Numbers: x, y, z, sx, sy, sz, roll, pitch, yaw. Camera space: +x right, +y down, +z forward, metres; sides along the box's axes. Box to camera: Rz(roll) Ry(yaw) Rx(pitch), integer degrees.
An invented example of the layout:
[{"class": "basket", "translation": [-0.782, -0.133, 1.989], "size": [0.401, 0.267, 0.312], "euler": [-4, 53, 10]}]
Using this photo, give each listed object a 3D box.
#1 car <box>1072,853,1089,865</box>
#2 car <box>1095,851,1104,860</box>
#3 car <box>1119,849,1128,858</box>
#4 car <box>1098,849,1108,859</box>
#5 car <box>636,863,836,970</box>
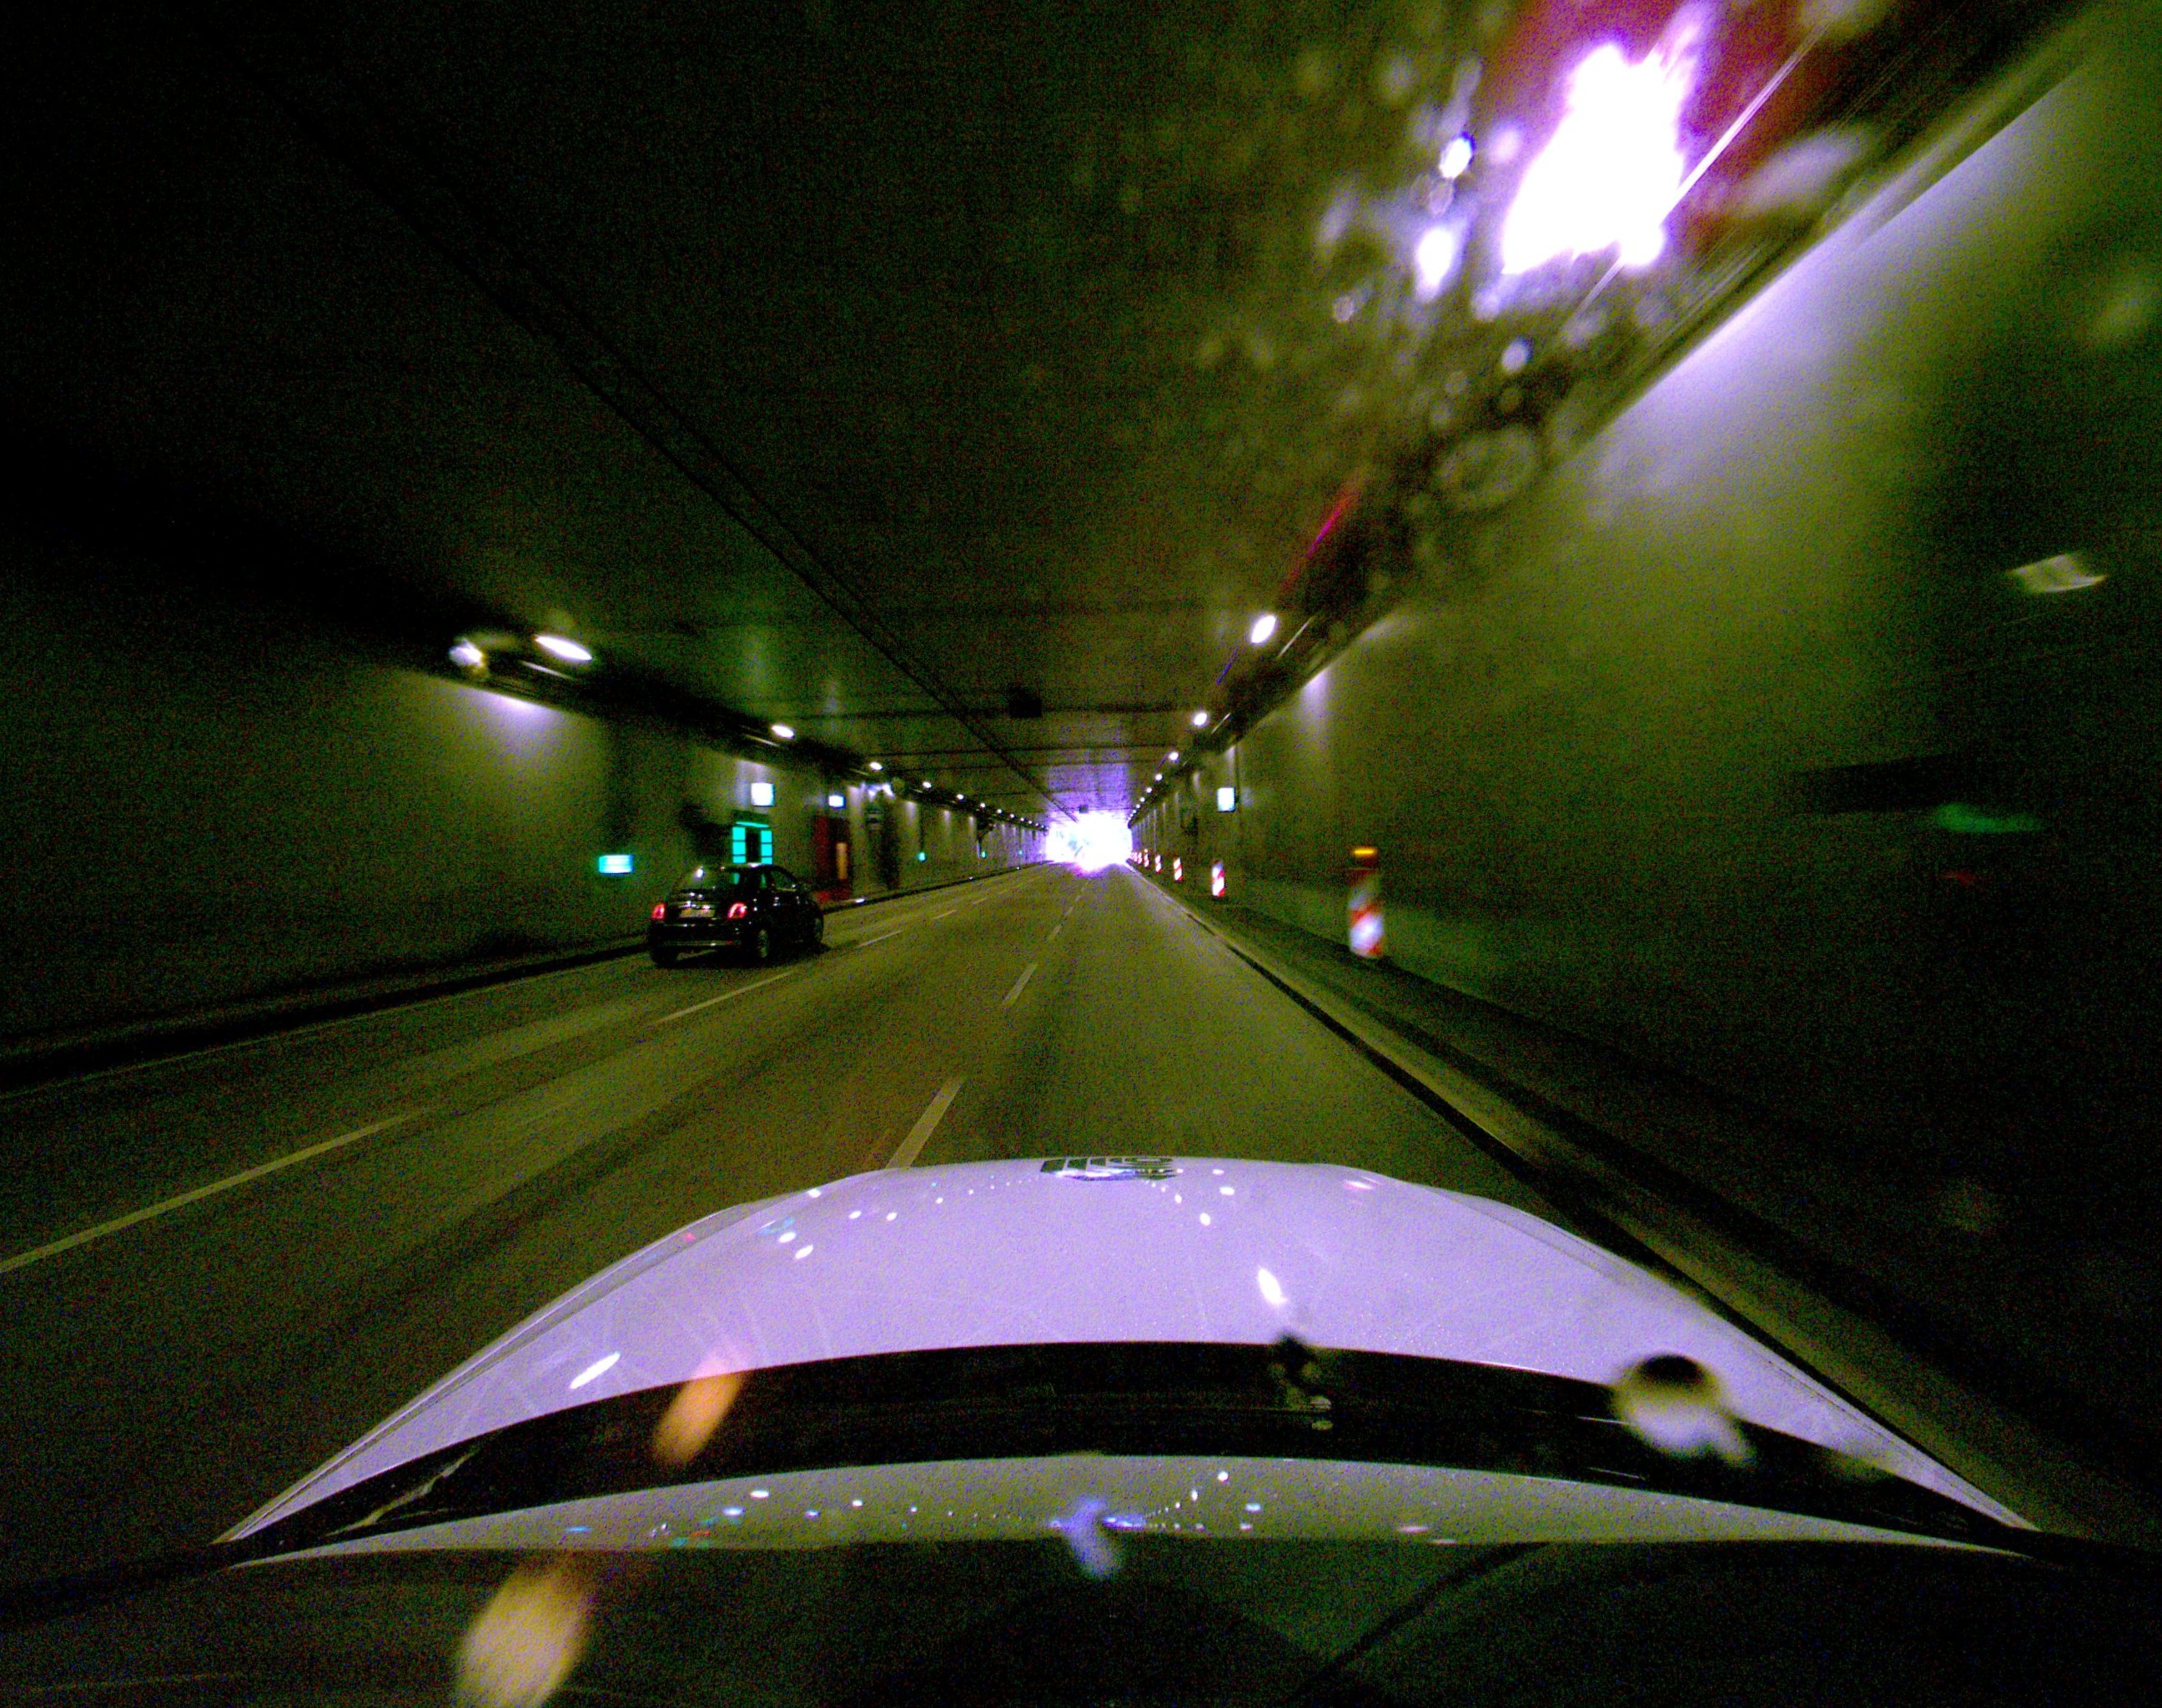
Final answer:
[{"class": "car", "translation": [-0.048, 0.595, 98.535], "size": [1.988, 1.448, 4.311], "euler": [0, 0, -2]}, {"class": "car", "translation": [4.637, 0.413, 202.690], "size": [1.986, 2.014, 4.001], "euler": [-2, -1, 1]}, {"class": "car", "translation": [9.532, -0.145, 183.138], "size": [1.986, 2.014, 4.002], "euler": [-2, -1, 2]}, {"class": "car", "translation": [4.612, 0.012, 168.957], "size": [1.986, 2.014, 4.002], "euler": [-2, -1, 2]}, {"class": "car", "translation": [-5.385, 0.896, 13.230], "size": [1.606, 1.454, 3.574], "euler": [0, 0, 2]}]
